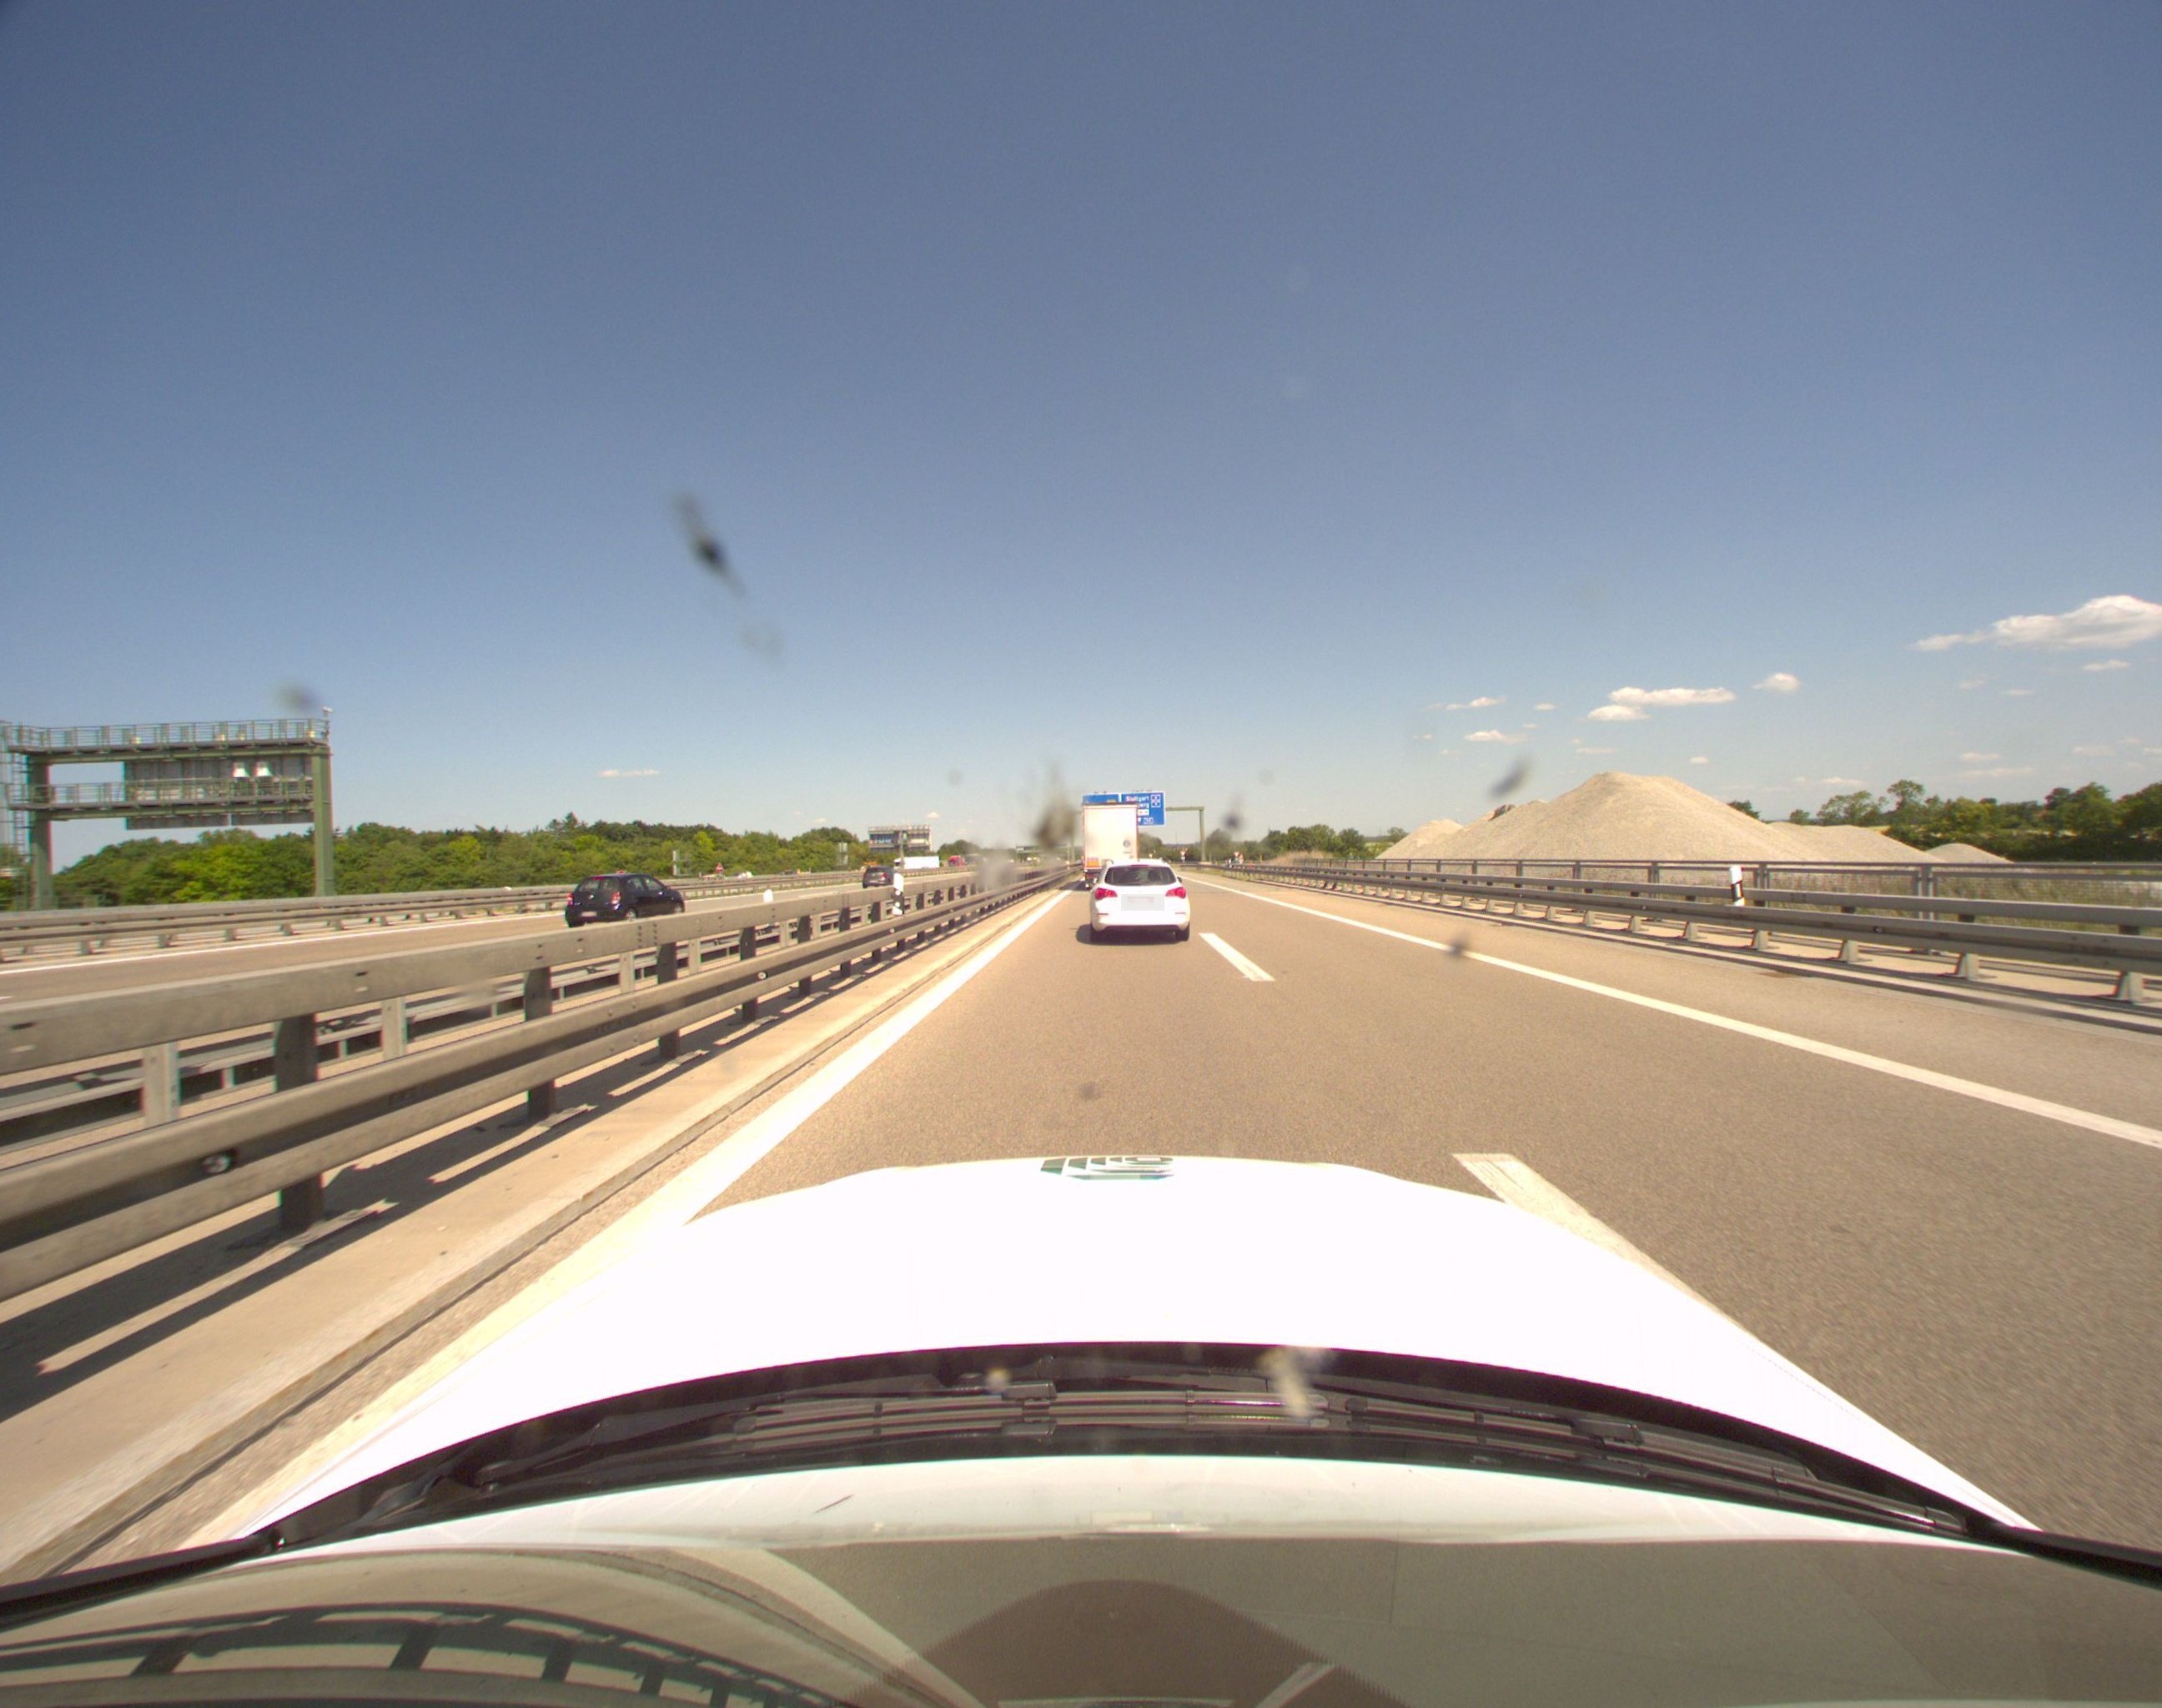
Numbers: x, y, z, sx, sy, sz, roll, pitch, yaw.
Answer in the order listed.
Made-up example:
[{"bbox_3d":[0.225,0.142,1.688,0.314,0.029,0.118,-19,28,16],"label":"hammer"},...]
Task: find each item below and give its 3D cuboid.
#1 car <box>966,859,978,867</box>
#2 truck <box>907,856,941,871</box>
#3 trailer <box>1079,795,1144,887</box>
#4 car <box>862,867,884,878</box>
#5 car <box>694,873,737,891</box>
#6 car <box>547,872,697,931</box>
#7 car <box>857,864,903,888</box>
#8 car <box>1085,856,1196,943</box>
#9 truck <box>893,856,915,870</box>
[{"bbox_3d":[-23.851,2.020,178.324,1.782,1.640,4.001,-2,0,2],"label":"car"},{"bbox_3d":[-39.152,2.300,203.134,1.976,3.300,12.235,-2,0,21],"label":"truck"},{"bbox_3d":[1.590,-0.525,42.626,2.901,4.145,11.262,0,-1,2],"label":"trailer"},{"bbox_3d":[-31.250,2.788,122.600,1.831,1.517,5.300,-2,0,2],"label":"car"},{"bbox_3d":[-34.454,2.648,76.904,1.831,1.517,4.533,-2,0,2],"label":"car"},{"bbox_3d":[-13.130,1.313,23.627,1.823,1.432,4.219,-1,0,2],"label":"car"},{"bbox_3d":[-12.996,1.382,52.820,1.756,1.422,4.218,-1,0,2],"label":"car"},{"bbox_3d":[1.086,0.768,15.889,1.847,1.443,4.374,-1,0,2],"label":"car"},{"bbox_3d":[-42.508,2.167,195.298,1.975,3.300,5.419,-2,0,28],"label":"truck"}]
